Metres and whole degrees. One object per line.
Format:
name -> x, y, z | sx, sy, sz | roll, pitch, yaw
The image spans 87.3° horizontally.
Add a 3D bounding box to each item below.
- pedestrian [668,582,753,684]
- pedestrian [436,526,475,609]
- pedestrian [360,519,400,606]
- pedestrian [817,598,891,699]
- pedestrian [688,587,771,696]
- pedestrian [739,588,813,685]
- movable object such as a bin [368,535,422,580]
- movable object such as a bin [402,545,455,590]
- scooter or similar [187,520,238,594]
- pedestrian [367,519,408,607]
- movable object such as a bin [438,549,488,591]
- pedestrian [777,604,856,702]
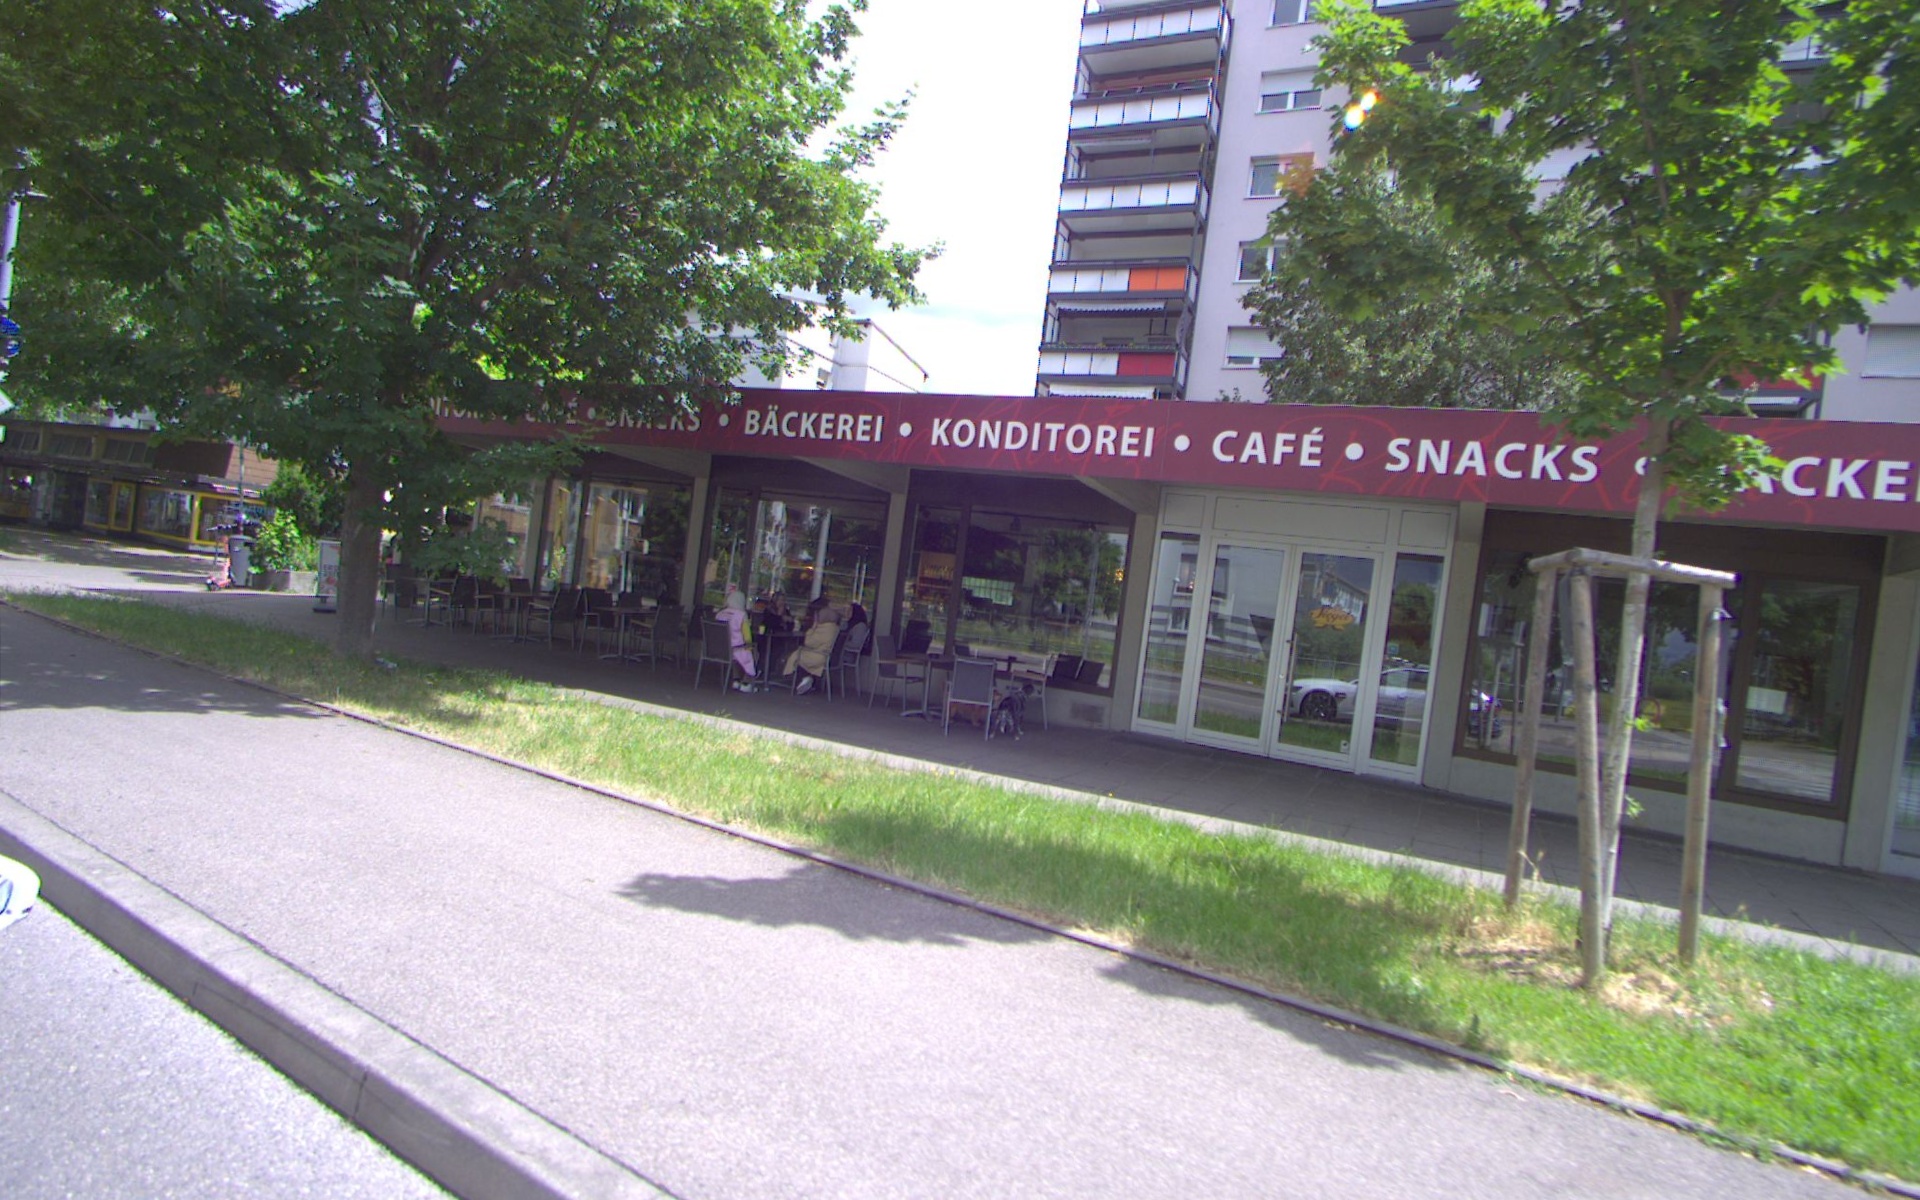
pedestrian -> -3.417, 0.445, 13.789 | 0.811, 1.283, 0.673 | 6, 2, 26
pedestrian -> -10.007, -0.646, 19.970 | 0.504, 1.571, 0.530 | 6, 0, -23
pedestrian -> -11.405, -0.730, 19.798 | 0.393, 1.652, 0.443 | 6, 0, -6
pedestrian -> -1.440, 0.649, 13.710 | 0.665, 1.283, 0.673 | 6, 2, 26
pedestrian -> -2.904, 0.517, 12.685 | 0.664, 1.283, 0.674 | 6, 2, 39
pedestrian -> -2.601, 0.505, 14.221 | 0.662, 1.283, 0.676 | 6, 2, 28
movable object such as a bin -> -20.860, -1.558, 37.136 | 1.192, 1.431, 1.176 | 9, 2, 32
movable object such as a bin -> -19.336, -1.170, 36.634 | 1.125, 1.431, 1.183 | 9, 2, 32
scooter or similar -> -14.200, -0.813, 19.133 | 0.372, 1.324, 1.225 | 6, 0, -22
pedestrian -> -11.038, -0.705, 19.416 | 0.393, 1.652, 0.443 | 6, 0, -6
movable object such as a bin -> -19.255, -1.154, 38.998 | 1.125, 1.431, 1.183 | 9, 2, 32
pedestrian -> -1.854, 0.674, 13.001 | 0.665, 1.167, 0.673 | 6, 2, 26
